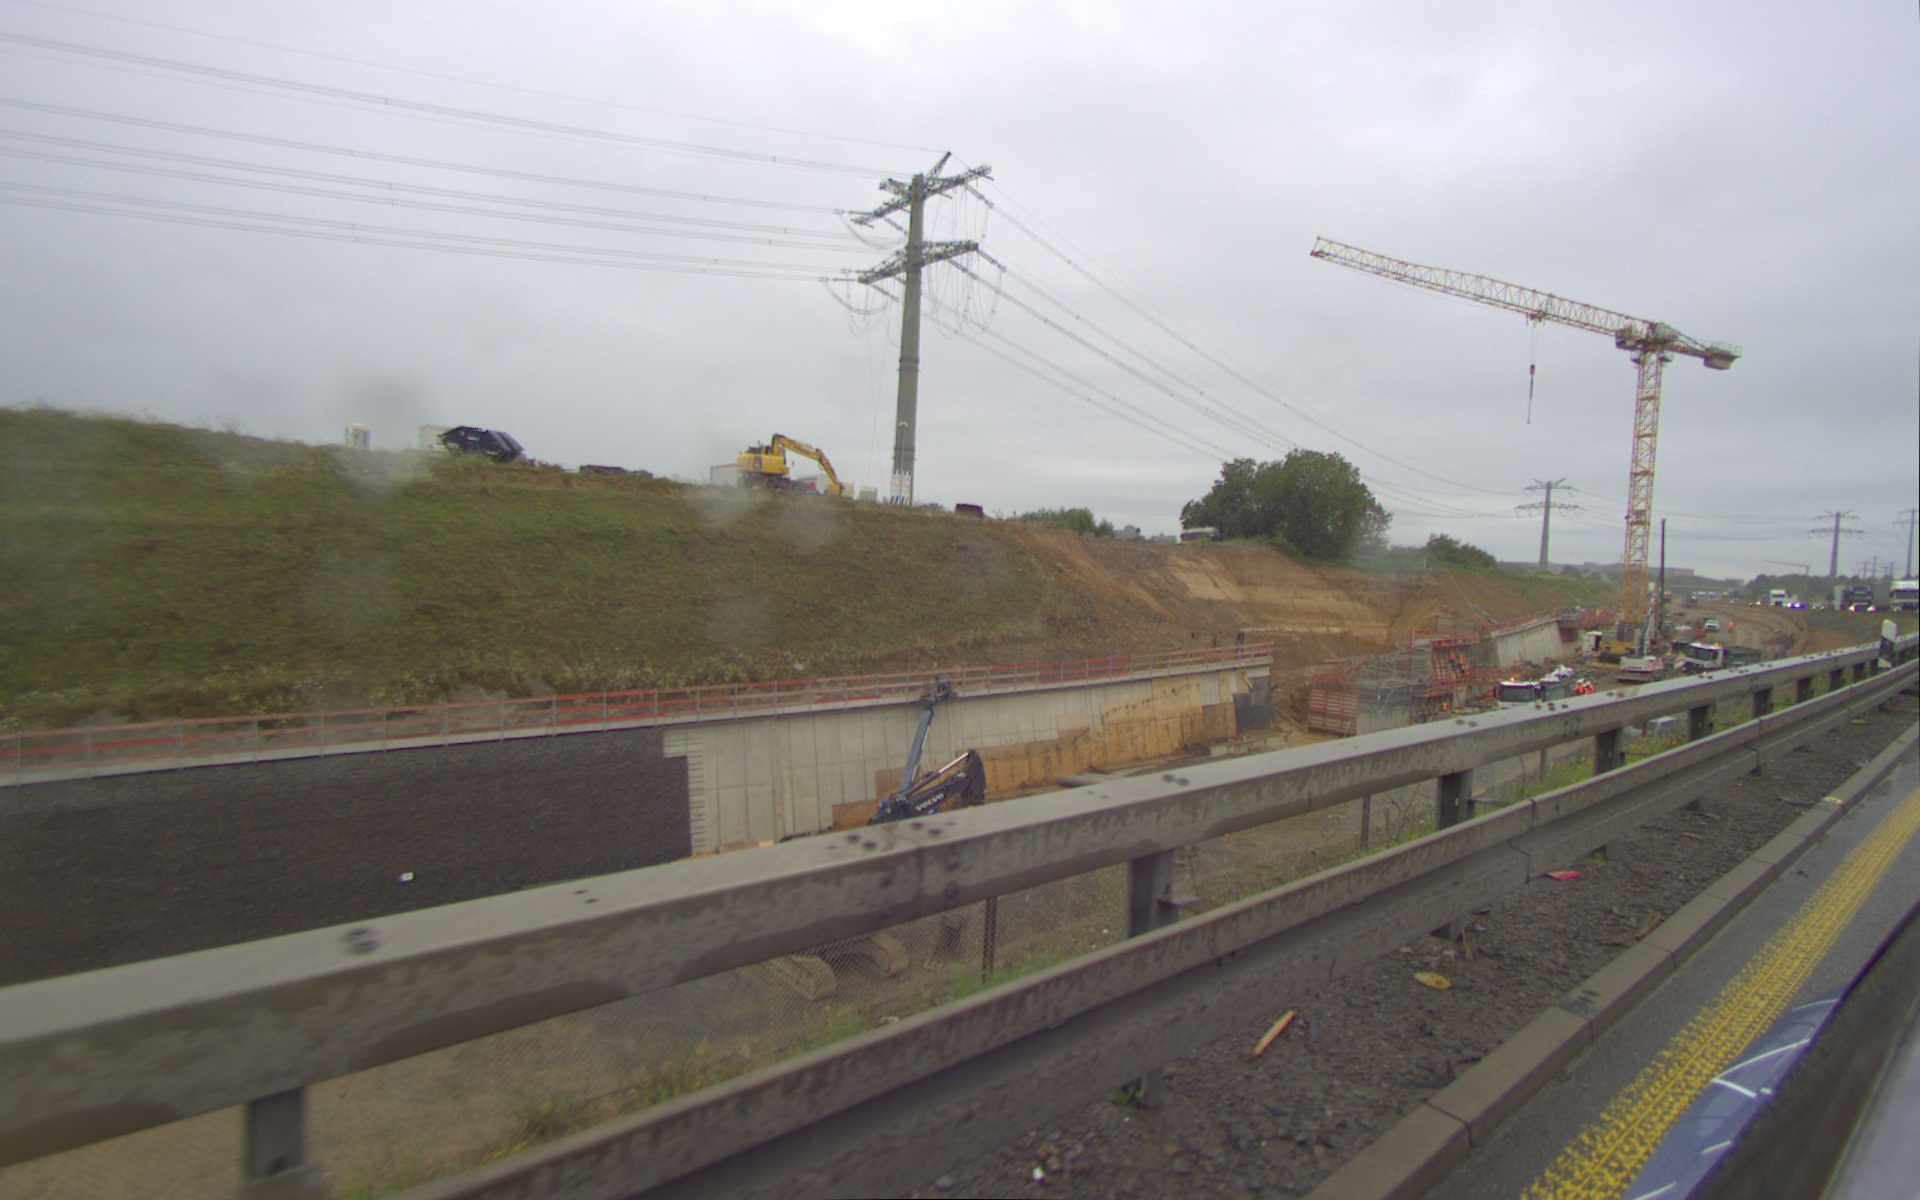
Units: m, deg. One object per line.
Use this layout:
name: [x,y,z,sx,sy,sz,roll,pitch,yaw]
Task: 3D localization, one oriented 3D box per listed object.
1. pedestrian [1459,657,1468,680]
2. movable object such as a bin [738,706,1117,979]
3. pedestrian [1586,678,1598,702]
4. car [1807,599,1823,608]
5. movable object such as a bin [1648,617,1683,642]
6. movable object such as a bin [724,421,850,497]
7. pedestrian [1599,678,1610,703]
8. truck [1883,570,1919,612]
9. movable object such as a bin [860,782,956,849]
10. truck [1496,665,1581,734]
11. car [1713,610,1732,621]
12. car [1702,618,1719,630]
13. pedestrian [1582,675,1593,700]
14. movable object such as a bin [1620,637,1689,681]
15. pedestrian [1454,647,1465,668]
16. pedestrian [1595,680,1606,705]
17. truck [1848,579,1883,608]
pedestrian: [46.630,6.351,93.658,0.487,2.127,0.474,-6,-4,42]
movable object such as a bin: [-0.693,7.225,33.418,11.885,5.740,4.901,-4,1,-41]
pedestrian: [50.024,7.090,80.077,0.602,1.791,0.474,6,4,42]
car: [140.154,0.634,165.877,1.780,1.445,3.947,-1,0,36]
movable object such as a bin: [100.595,4.157,144.298,3.493,2.915,3.940,8,6,42]
movable object such as a bin: [-11.770,-9.491,69.348,8.033,4.259,3.106,0,1,-40]
pedestrian: [51.553,7.260,80.992,0.601,1.928,0.474,3,2,42]
truck: [104.236,-0.985,110.935,4.303,4.400,13.206,-1,0,42]
movable object such as a bin: [-2.183,9.041,42.787,2.515,1.935,3.206,-2,-1,43]
truck: [39.901,6.701,69.628,8.927,3.655,2.705,-2,3,-44]
car: [134.031,2.705,177.874,2.343,1.638,4.788,2,2,41]
car: [115.897,3.754,156.215,1.853,1.638,4.020,2,2,41]
pedestrian: [50.976,7.113,82.163,0.601,1.928,0.474,4,3,42]
movable object such as a bin: [63.945,5.330,93.149,6.534,3.466,3.516,-2,2,-39]
pedestrian: [45.584,5.231,92.425,0.570,1.827,0.490,-3,-3,-7]
pedestrian: [51.002,7.343,80.556,0.601,1.928,0.605,3,2,42]
truck: [127.318,-0.879,142.331,3.533,3.943,8.210,-1,0,42]
